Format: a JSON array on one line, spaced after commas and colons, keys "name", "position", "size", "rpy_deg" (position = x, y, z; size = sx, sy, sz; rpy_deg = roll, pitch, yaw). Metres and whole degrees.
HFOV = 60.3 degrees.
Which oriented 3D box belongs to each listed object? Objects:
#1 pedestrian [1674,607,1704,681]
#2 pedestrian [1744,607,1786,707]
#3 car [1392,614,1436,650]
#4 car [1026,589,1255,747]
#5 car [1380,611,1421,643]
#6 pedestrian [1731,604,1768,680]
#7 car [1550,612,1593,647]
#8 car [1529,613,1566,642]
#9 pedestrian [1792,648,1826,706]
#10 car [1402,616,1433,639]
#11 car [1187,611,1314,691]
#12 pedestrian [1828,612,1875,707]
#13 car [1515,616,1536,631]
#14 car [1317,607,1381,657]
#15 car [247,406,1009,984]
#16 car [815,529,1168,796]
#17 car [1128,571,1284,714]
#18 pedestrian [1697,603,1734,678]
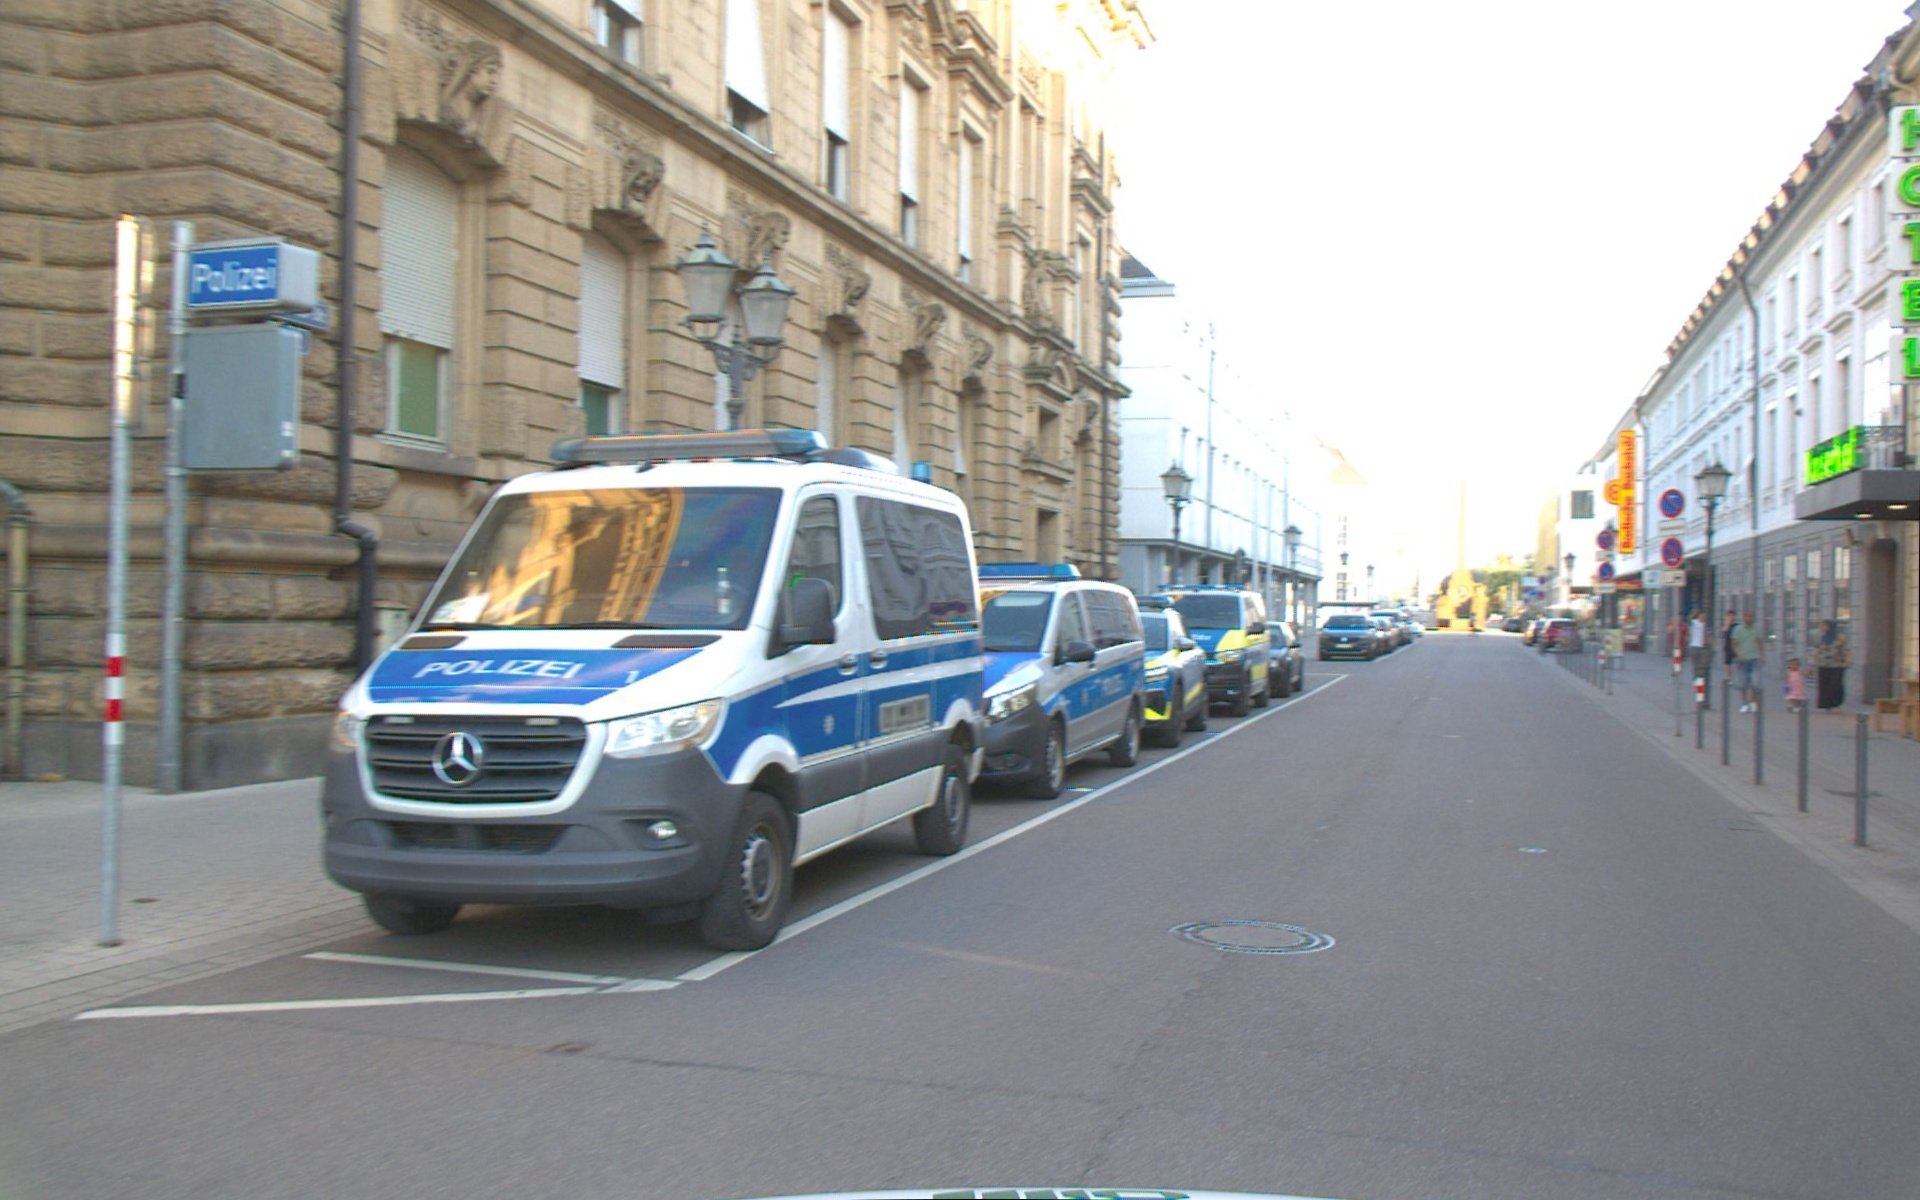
[{"name": "pedestrian", "position": [18.113, 1.086, 41.103], "size": [0.607, 1.821, 0.914], "rpy_deg": [0, 0, 19]}, {"name": "pedestrian", "position": [14.299, 1.000, 29.384], "size": [0.594, 1.760, 0.558], "rpy_deg": [0, 0, 19]}, {"name": "car", "position": [23.212, 1.617, 84.495], "size": [1.952, 1.758, 4.517], "rpy_deg": [-1, -1, 18]}, {"name": "car", "position": [2.475, 0.795, 21.395], "size": [1.952, 1.783, 4.992], "rpy_deg": [0, -1, 18]}, {"name": "car", "position": [24.430, 1.465, 91.588], "size": [1.952, 1.691, 4.002], "rpy_deg": [1, 0, 18]}, {"name": "pedestrian", "position": [18.670, 0.978, 39.128], "size": [0.698, 1.760, 0.873], "rpy_deg": [0, 0, 20]}, {"name": "car", "position": [28.426, 1.366, 77.011], "size": [1.722, 1.550, 3.679], "rpy_deg": [1, 0, 18]}, {"name": "car", "position": [32.083, 1.474, 90.397], "size": [1.764, 1.489, 4.119], "rpy_deg": [1, 0, 18]}, {"name": "pedestrian", "position": [15.019, 1.363, 29.264], "size": [0.450, 0.997, 0.558], "rpy_deg": [1, 0, 19]}, {"name": "car", "position": [30.574, 1.821, 110.411], "size": [1.748, 1.433, 4.089], "rpy_deg": [0, 0, 19]}, {"name": "car", "position": [5.973, 0.993, 33.640], "size": [1.952, 1.521, 4.166], "rpy_deg": [0, -1, 18]}, {"name": "pedestrian", "position": [15.524, 1.019, 28.799], "size": [0.616, 1.629, 0.615], "rpy_deg": [0, 0, 19]}, {"name": "car", "position": [57.478, 2.364, 168.042], "size": [1.952, 1.490, 4.001], "rpy_deg": [0, 0, 19]}, {"name": "car", "position": [13.341, 1.066, 56.531], "size": [1.748, 1.643, 4.167], "rpy_deg": [0, 0, 19]}, {"name": "car", "position": [-1.304, 0.365, 9.094], "size": [1.951, 2.209, 5.210], "rpy_deg": [1, 0, 15]}, {"name": "car", "position": [0.540, 0.527, 15.936], "size": [1.952, 2.124, 5.209], "rpy_deg": [0, -1, 18]}, {"name": "car", "position": [4.136, 0.661, 27.149], "size": [1.951, 2.114, 4.993], "rpy_deg": [0, -1, 15]}, {"name": "pedestrian", "position": [17.921, 0.954, 39.243], "size": [0.732, 1.760, 0.881], "rpy_deg": [0, 0, 21]}]
